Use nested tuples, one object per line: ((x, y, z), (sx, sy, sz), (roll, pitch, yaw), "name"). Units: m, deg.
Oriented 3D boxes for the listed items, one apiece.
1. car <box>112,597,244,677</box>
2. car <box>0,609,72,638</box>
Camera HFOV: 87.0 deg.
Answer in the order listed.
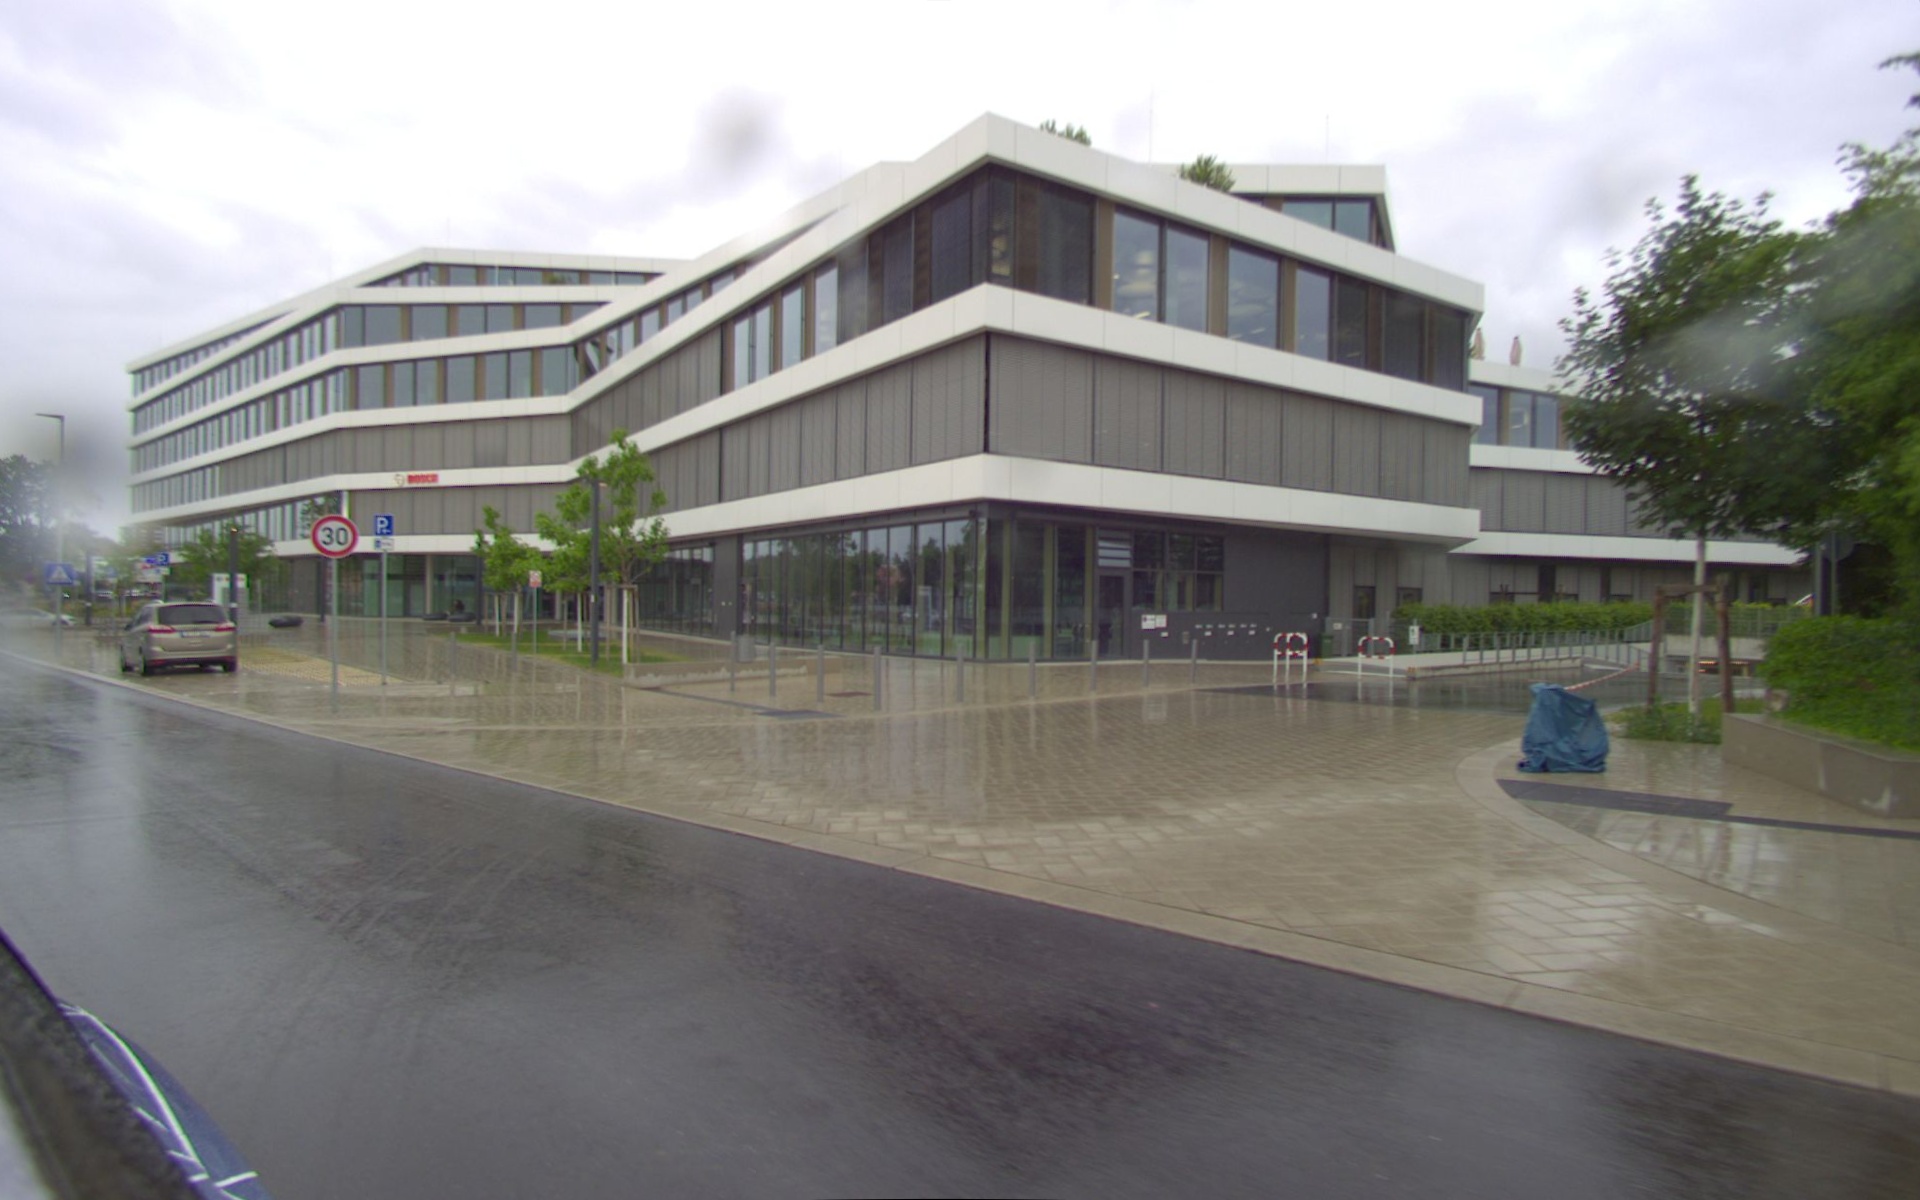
((-18.534, 0.802, 23.926), (4.324, 1.718, 1.817), (0, 0, 43), "car")
((-51.472, 1.310, 55.480), (4.109, 1.430, 2.002), (-3, 2, -44), "car")
